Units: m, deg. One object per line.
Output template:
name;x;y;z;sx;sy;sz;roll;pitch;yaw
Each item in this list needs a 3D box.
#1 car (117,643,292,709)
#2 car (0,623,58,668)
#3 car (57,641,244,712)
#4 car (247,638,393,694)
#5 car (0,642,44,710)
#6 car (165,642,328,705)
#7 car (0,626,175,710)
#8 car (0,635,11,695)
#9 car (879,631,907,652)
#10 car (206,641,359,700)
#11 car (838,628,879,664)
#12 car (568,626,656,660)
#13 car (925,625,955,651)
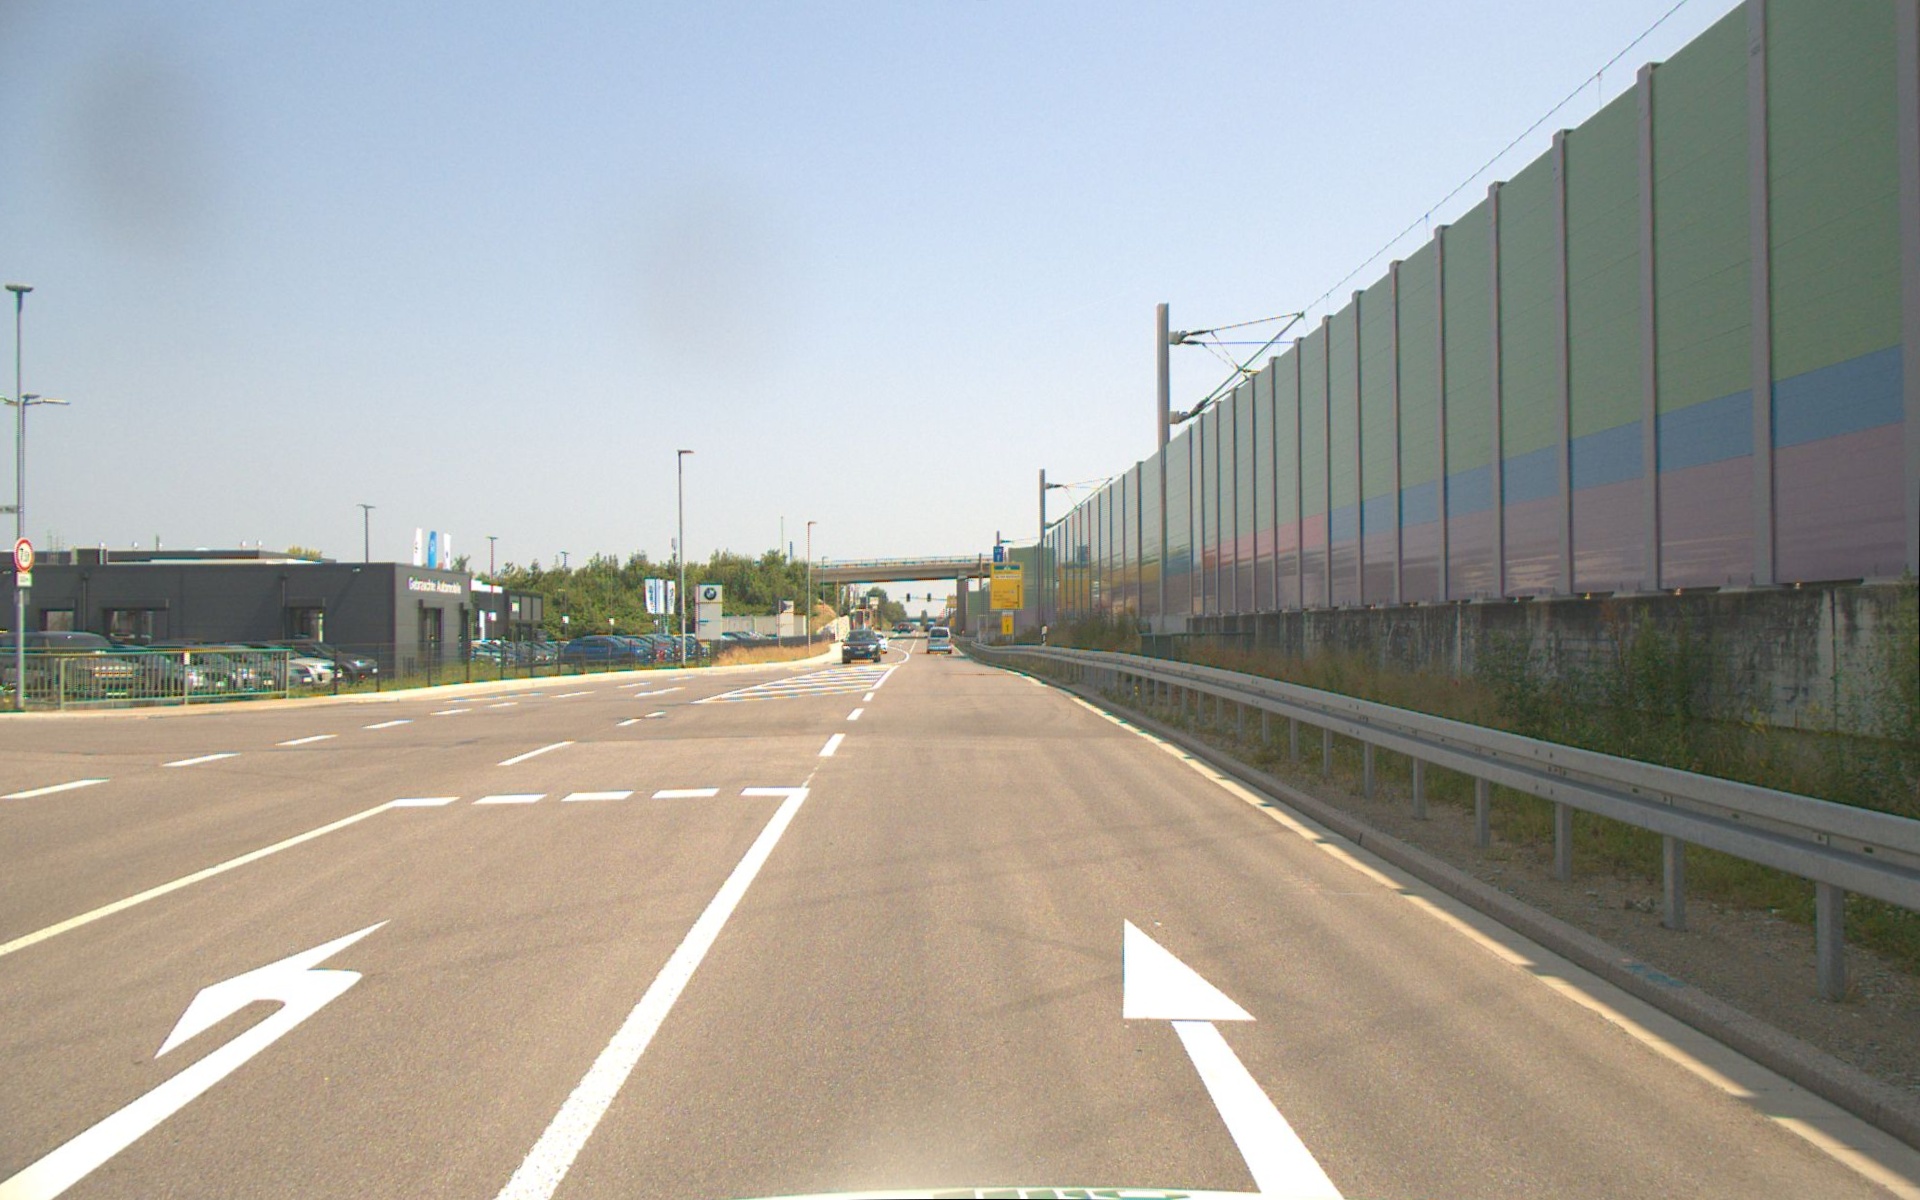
car;-20.782;2.074;45.636;3.907;1.660;1.976;-1;0;-3
car;-31.883;1.496;54.133;3.761;1.446;1.685;-1;0;-3
car;-20.979;1.965;42.993;3.907;1.660;1.885;-1;0;-3
car;-20.940;2.152;54.213;4.066;1.660;1.821;-1;0;-4
car;-26.342;2.002;42.982;3.907;1.694;1.976;-1;0;-3
car;-20.836;2.138;48.442;3.907;1.660;1.976;-1;0;-3
car;-20.901;1.615;39.374;4.586;1.898;2.058;-1;-3;36
car;-31.708;2.060;51.106;3.761;1.860;1.685;-1;0;-3
car;-4.706;2.915;116.004;1.744;1.441;4.049;-1;-1;0
car;-20.905;2.159;51.141;3.906;1.660;1.967;-1;0;-1
car;-5.096;2.300;83.688;1.839;1.702;4.289;-1;-1;-1
car;-16.912;2.087;80.533;3.907;1.506;1.910;-1;0;-3
car;-1.378;2.610;114.130;1.952;1.788;4.000;-1;-1;0
